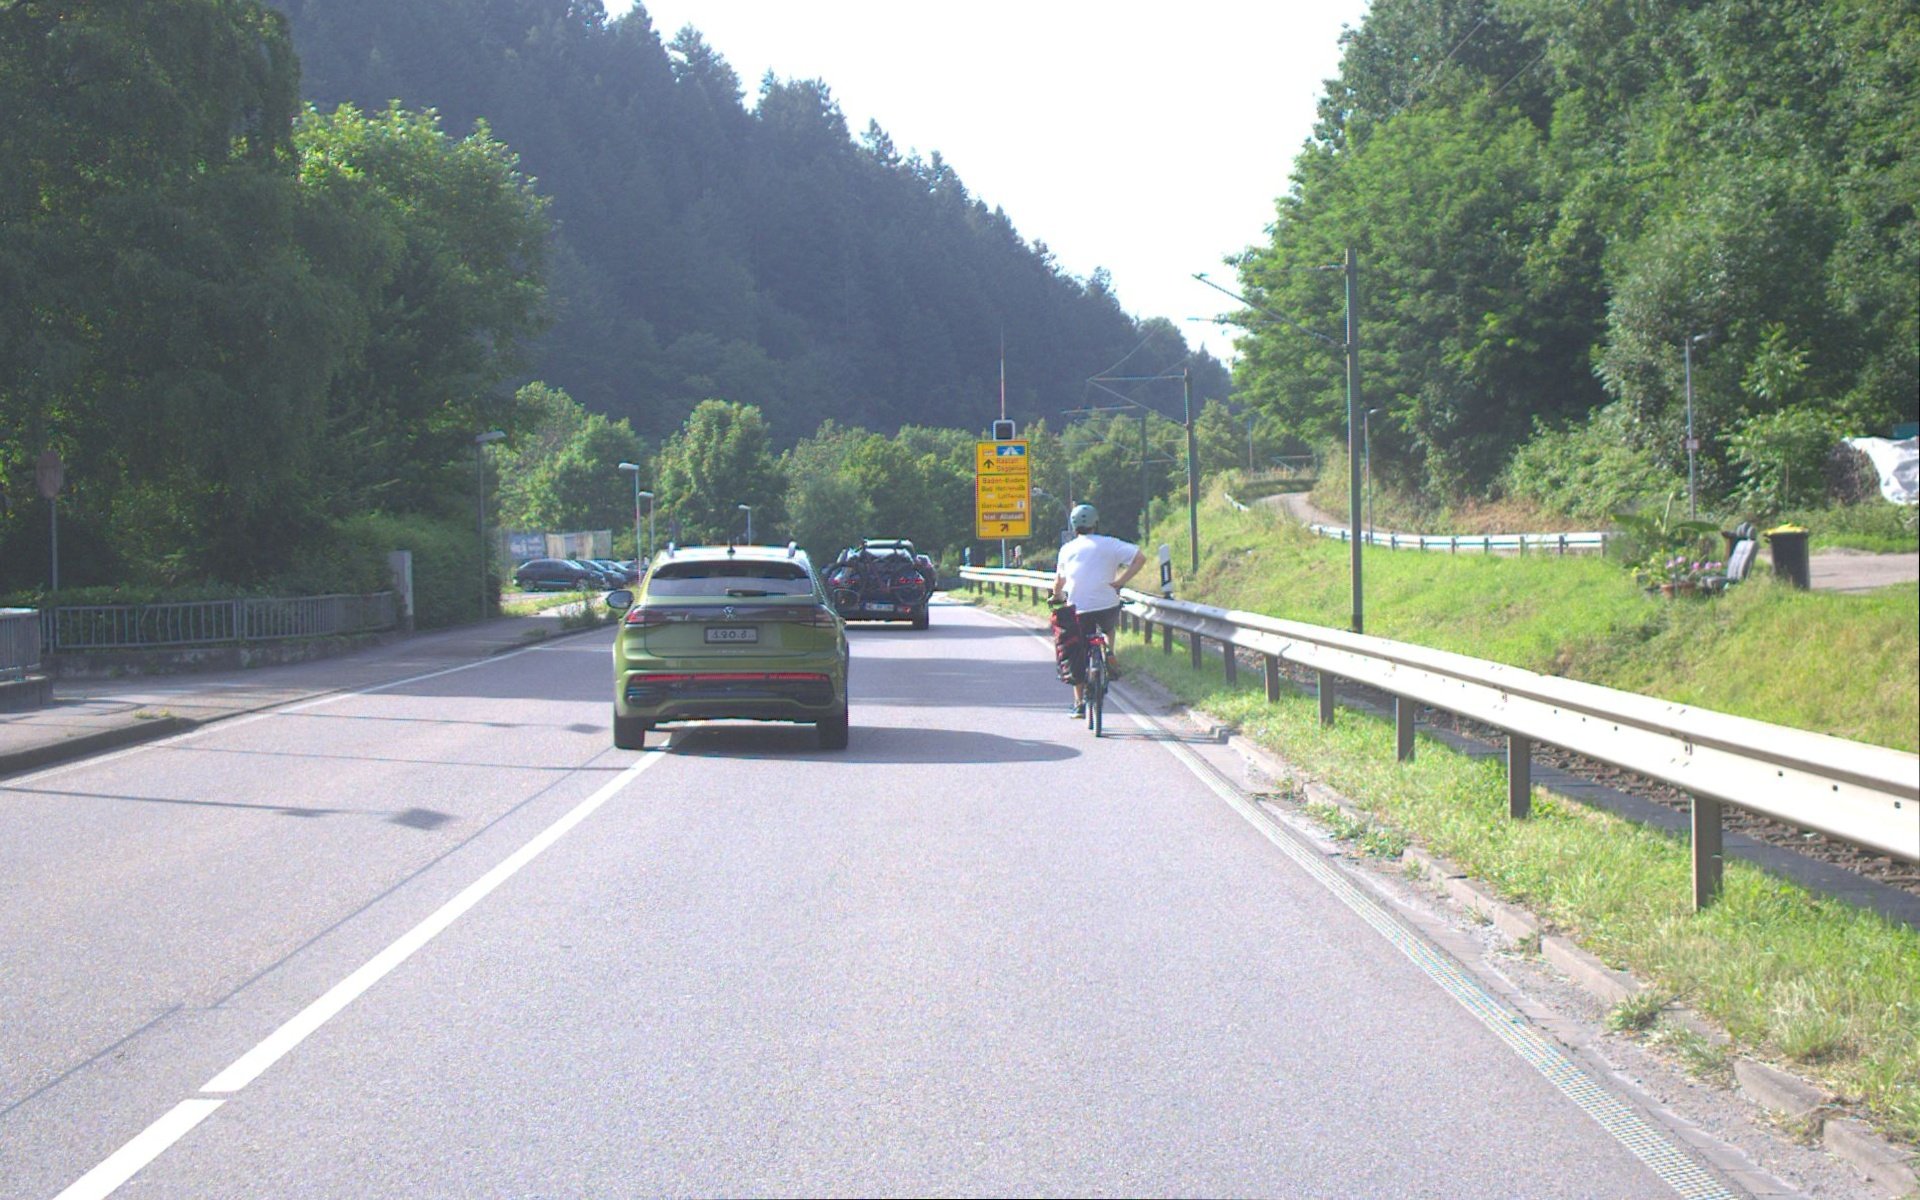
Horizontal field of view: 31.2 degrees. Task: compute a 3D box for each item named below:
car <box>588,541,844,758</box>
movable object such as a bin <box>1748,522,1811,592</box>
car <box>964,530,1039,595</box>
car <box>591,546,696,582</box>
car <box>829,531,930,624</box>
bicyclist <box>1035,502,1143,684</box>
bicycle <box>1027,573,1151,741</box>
[{"bbox_3d":[-1.774,0.310,26.093,1.739,1.503,4.000,0,1,-1],"label":"car"},{"bbox_3d":[13.198,-0.691,55.369,0.855,1.103,0.934,-1,1,5],"label":"movable object such as a bin"},{"bbox_3d":[1.036,-0.972,87.222,1.739,1.596,4.000,-1,1,-1],"label":"car"},{"bbox_3d":[-13.363,-1.524,145.420,4.259,1.428,1.557,-1,1,1],"label":"car"},{"bbox_3d":[-1.440,-0.422,61.314,1.739,1.596,4.000,0,1,-1],"label":"car"},{"bbox_3d":[1.009,-0.062,27.057,0.781,1.407,0.675,-1,1,-2],"label":"bicyclist"},{"bbox_3d":[1.002,0.427,27.224,0.811,1.246,2.123,-1,1,-2],"label":"bicycle"}]
